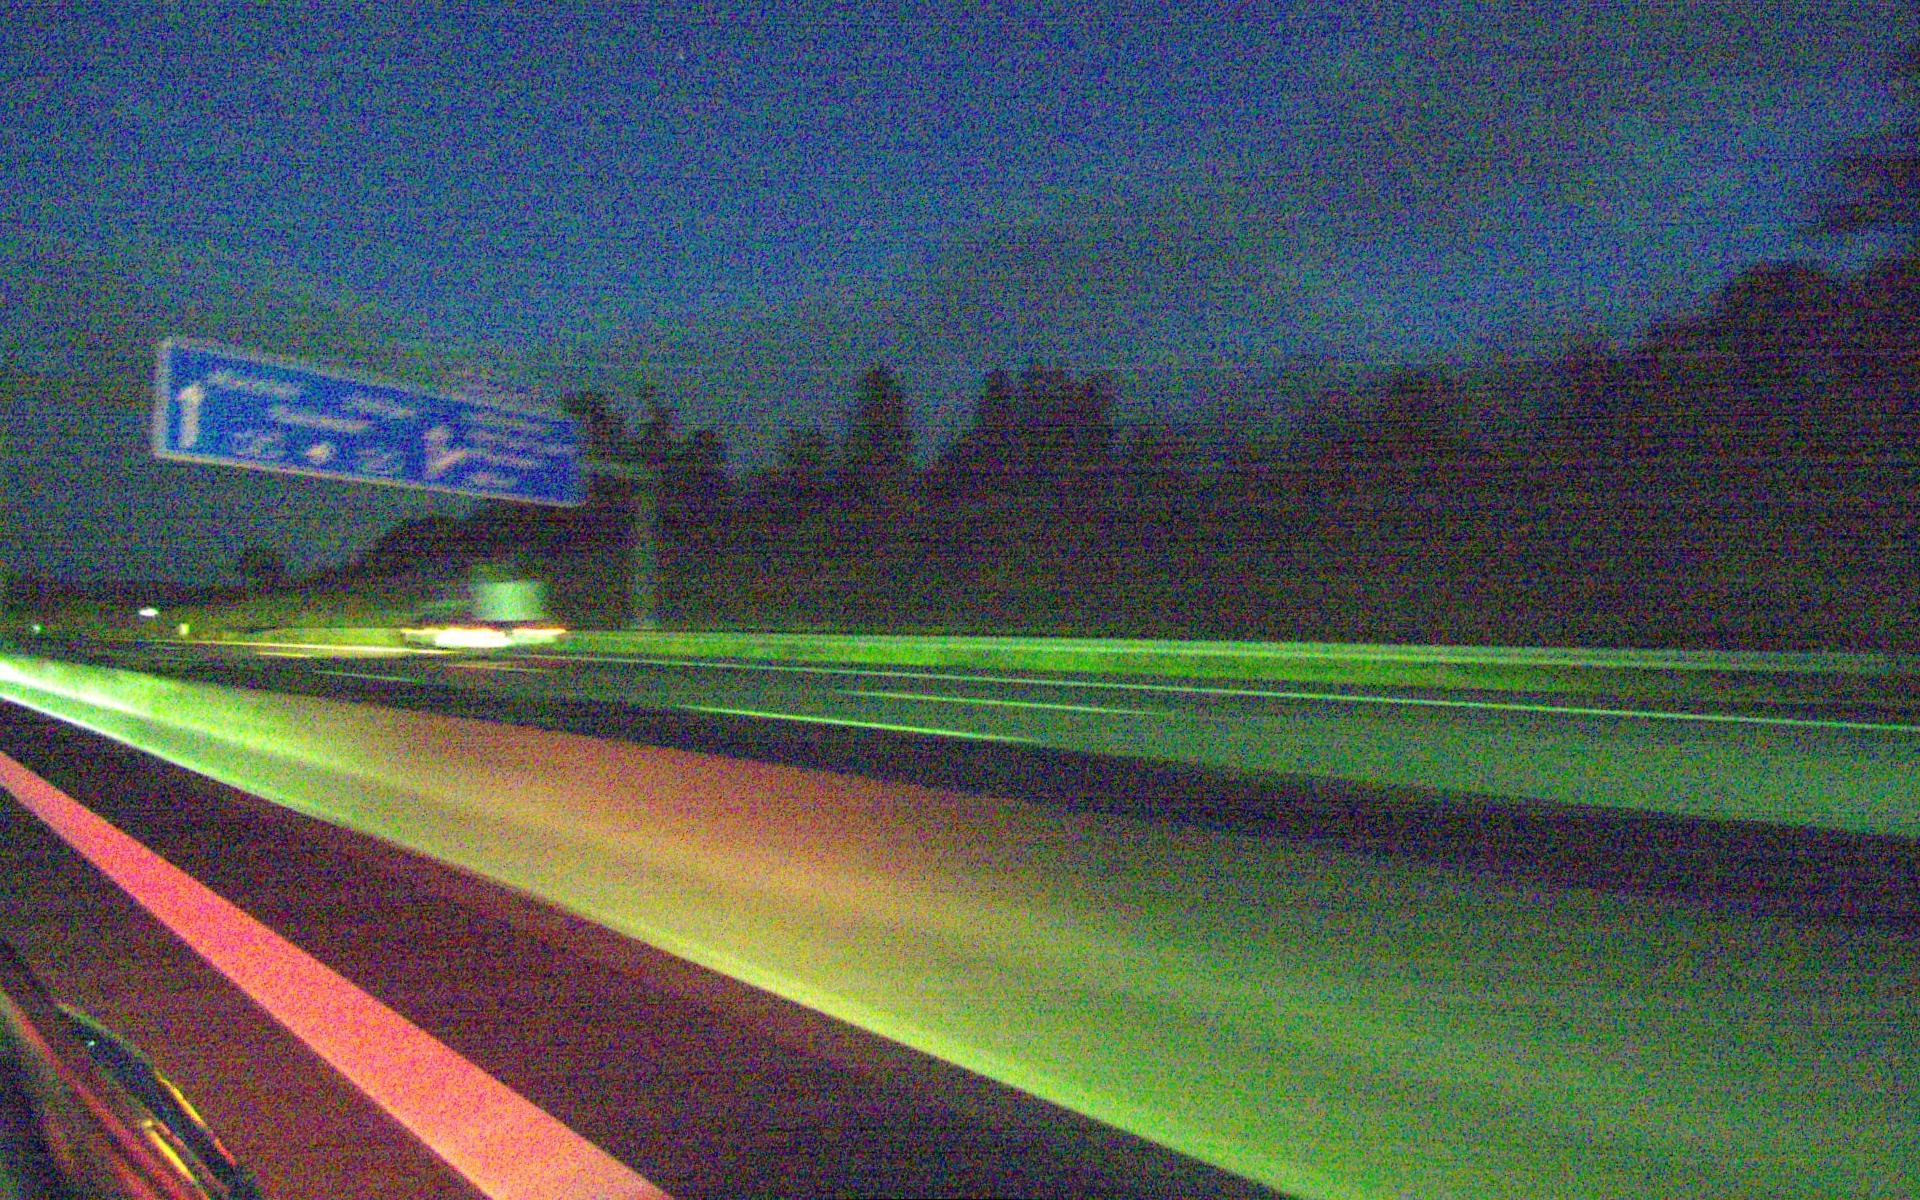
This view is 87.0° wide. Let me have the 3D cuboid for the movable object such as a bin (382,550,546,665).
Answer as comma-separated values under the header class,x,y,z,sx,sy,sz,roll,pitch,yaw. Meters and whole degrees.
class,x,y,z,sx,sy,sz,roll,pitch,yaw
movable object such as a bin,-16.672,0.279,33.756,7.433,3.443,2.185,-1,-1,41
